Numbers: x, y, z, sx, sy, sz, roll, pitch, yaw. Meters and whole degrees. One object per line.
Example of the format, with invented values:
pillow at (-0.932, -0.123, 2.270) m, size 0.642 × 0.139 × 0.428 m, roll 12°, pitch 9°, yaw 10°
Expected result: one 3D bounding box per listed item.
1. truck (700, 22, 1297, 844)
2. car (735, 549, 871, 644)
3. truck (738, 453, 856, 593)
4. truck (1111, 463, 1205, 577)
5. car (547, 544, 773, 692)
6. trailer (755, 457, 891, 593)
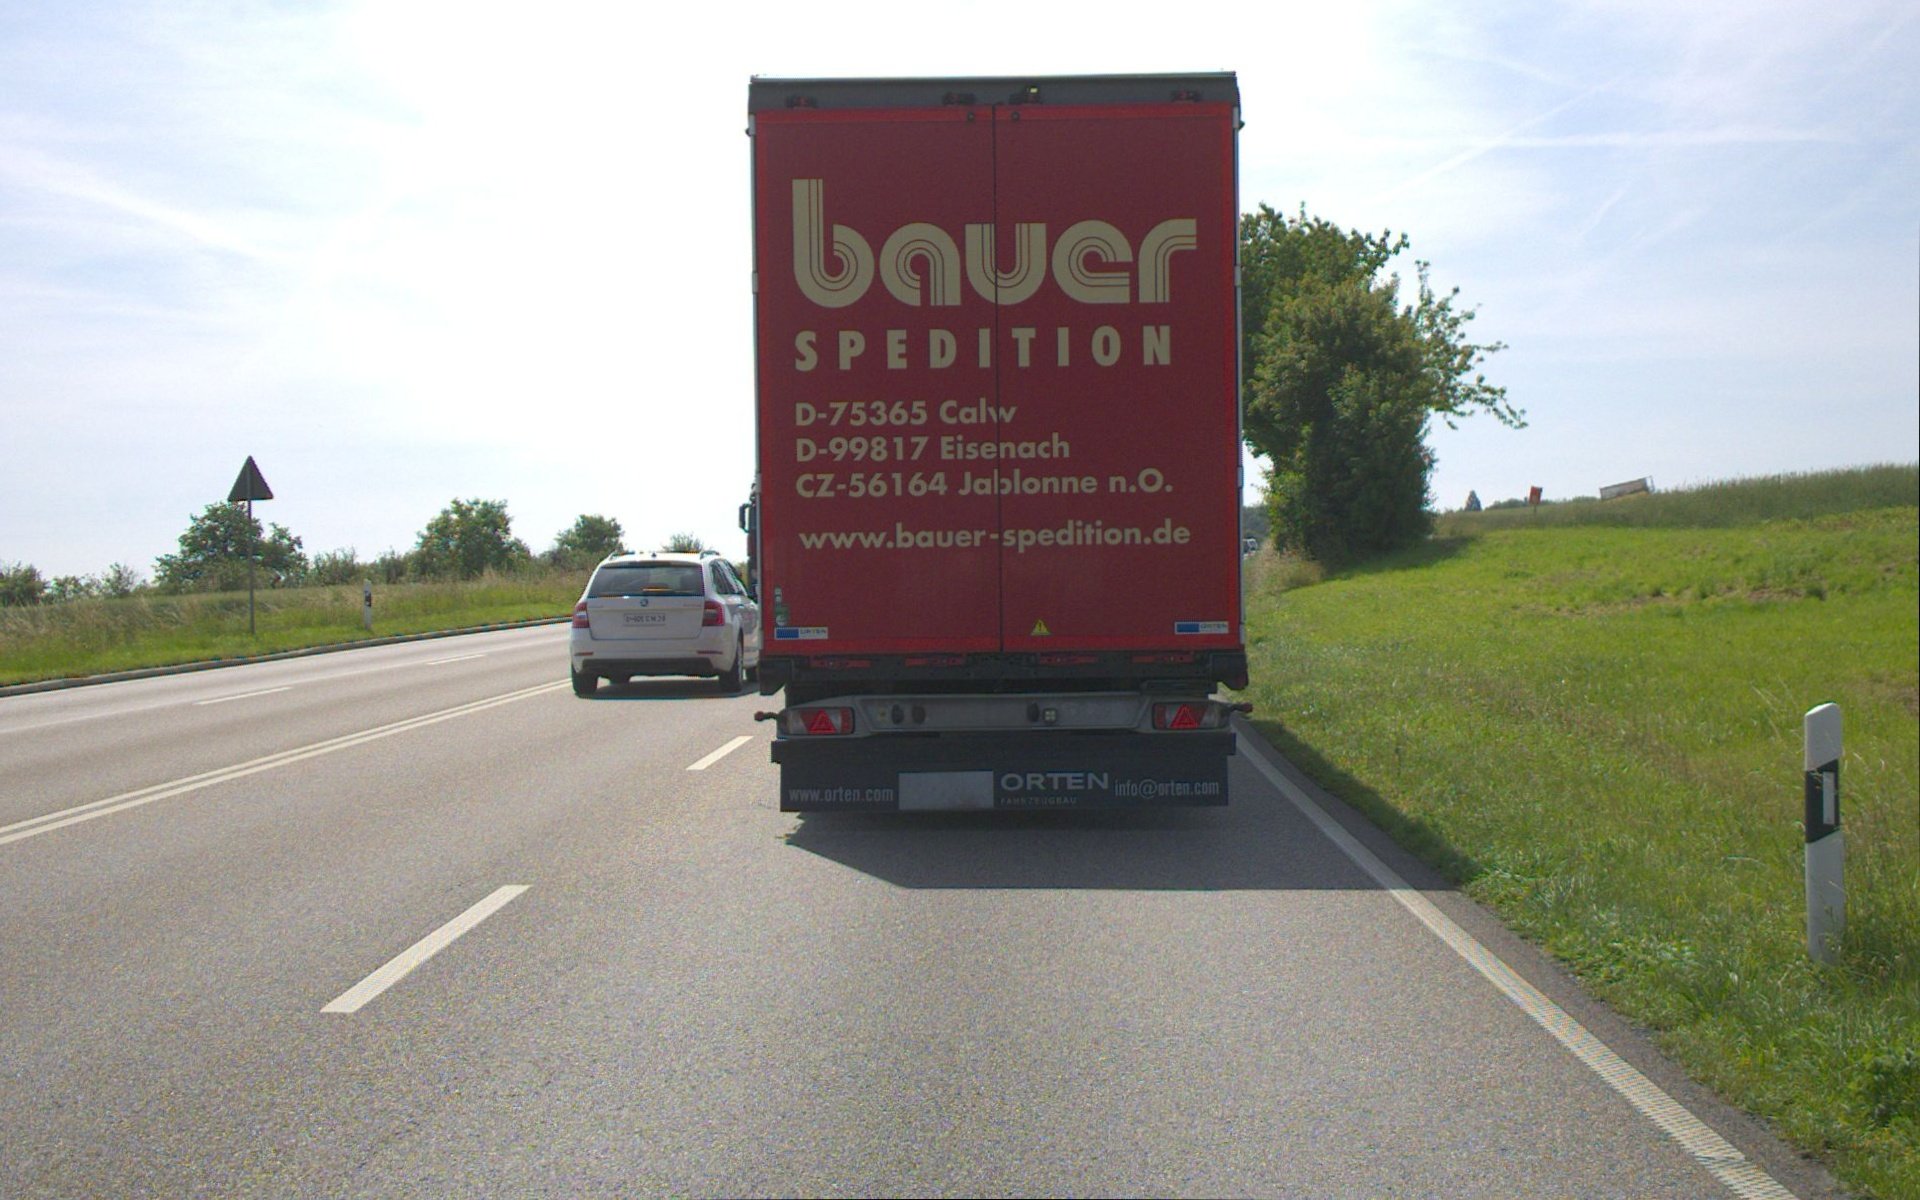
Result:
truck at (0.398, -0.961, 25.869) m, size 3.007 × 4.166 × 16.714 m, roll 1°, pitch 1°, yaw 1°
car at (-2.497, -0.086, 55.761) m, size 1.705 × 1.467 × 4.811 m, roll 0°, pitch 1°, yaw 3°
truck at (-4.960, -2.356, 105.409) m, size 2.617 × 4.087 × 6.087 m, roll -2°, pitch 1°, yaw 6°
truck at (7.454, -2.895, 127.335) m, size 3.047 × 3.897 × 18.395 m, roll -1°, pitch 1°, yaw 4°
car at (-3.144, 0.143, 36.954) m, size 1.821 × 1.467 × 4.788 m, roll 0°, pitch 1°, yaw 2°
trailer at (-4.323, -2.430, 112.008) m, size 2.545 × 4.087 × 13.581 m, roll -2°, pitch 1°, yaw 5°
